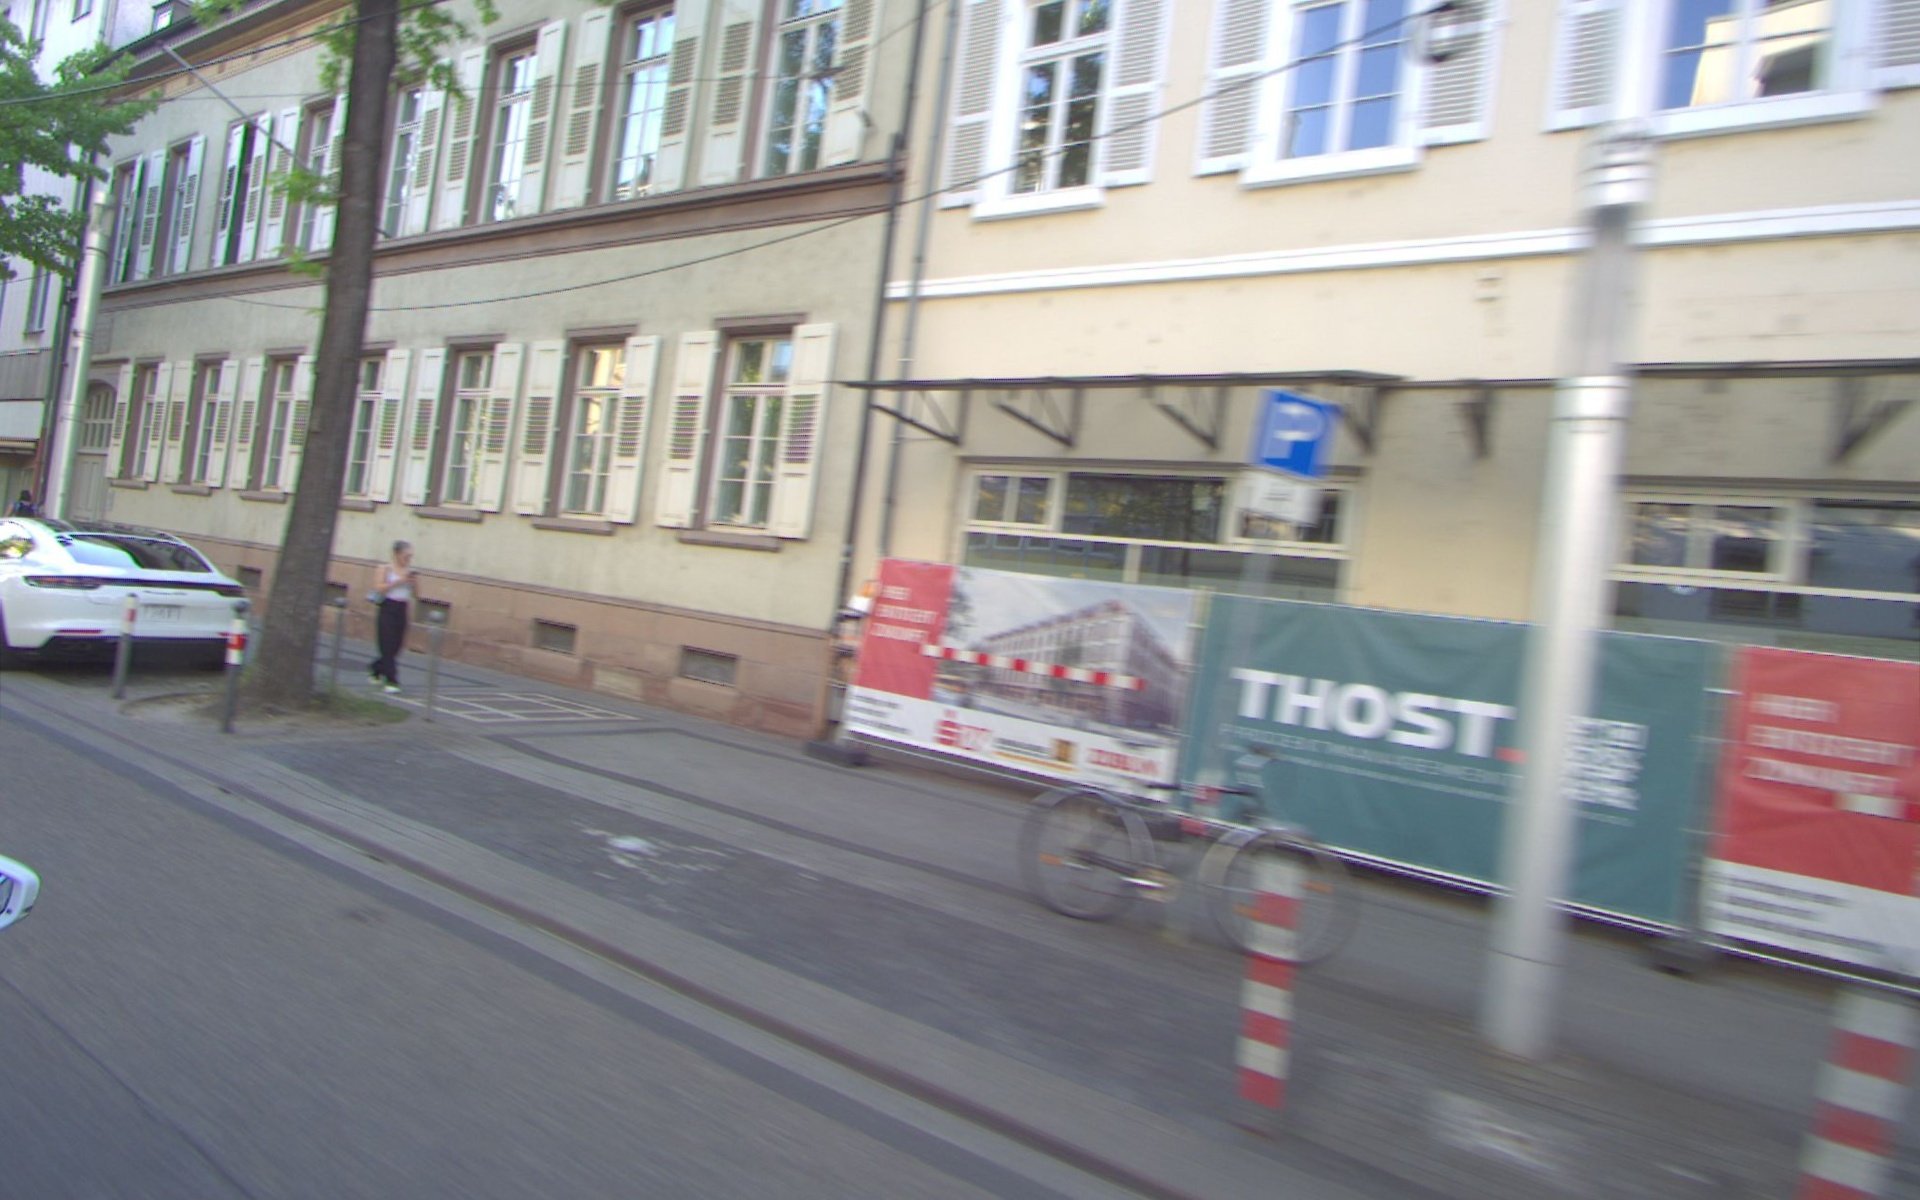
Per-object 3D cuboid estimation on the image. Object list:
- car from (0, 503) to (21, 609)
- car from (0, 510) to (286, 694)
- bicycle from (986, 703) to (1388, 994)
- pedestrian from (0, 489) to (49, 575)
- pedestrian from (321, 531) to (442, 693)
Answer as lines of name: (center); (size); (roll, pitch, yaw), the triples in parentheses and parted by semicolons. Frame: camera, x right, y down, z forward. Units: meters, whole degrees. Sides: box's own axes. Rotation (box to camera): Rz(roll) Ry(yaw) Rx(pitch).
car: (-16.080, -0.904, 14.950); (4.682, 1.497, 1.835); (7, 0, 31)
car: (-9.355, -0.108, 10.574); (4.807, 1.438, 1.914); (7, 1, 32)
bicycle: (1.181, 1.260, 5.424); (1.952, 1.114, 0.419); (7, 1, 22)
pedestrian: (-19.551, -1.410, 20.871); (0.873, 1.686, 0.658); (7, 2, 31)
pedestrian: (-6.158, 0.133, 10.710); (0.785, 1.592, 0.650); (7, -1, 32)
